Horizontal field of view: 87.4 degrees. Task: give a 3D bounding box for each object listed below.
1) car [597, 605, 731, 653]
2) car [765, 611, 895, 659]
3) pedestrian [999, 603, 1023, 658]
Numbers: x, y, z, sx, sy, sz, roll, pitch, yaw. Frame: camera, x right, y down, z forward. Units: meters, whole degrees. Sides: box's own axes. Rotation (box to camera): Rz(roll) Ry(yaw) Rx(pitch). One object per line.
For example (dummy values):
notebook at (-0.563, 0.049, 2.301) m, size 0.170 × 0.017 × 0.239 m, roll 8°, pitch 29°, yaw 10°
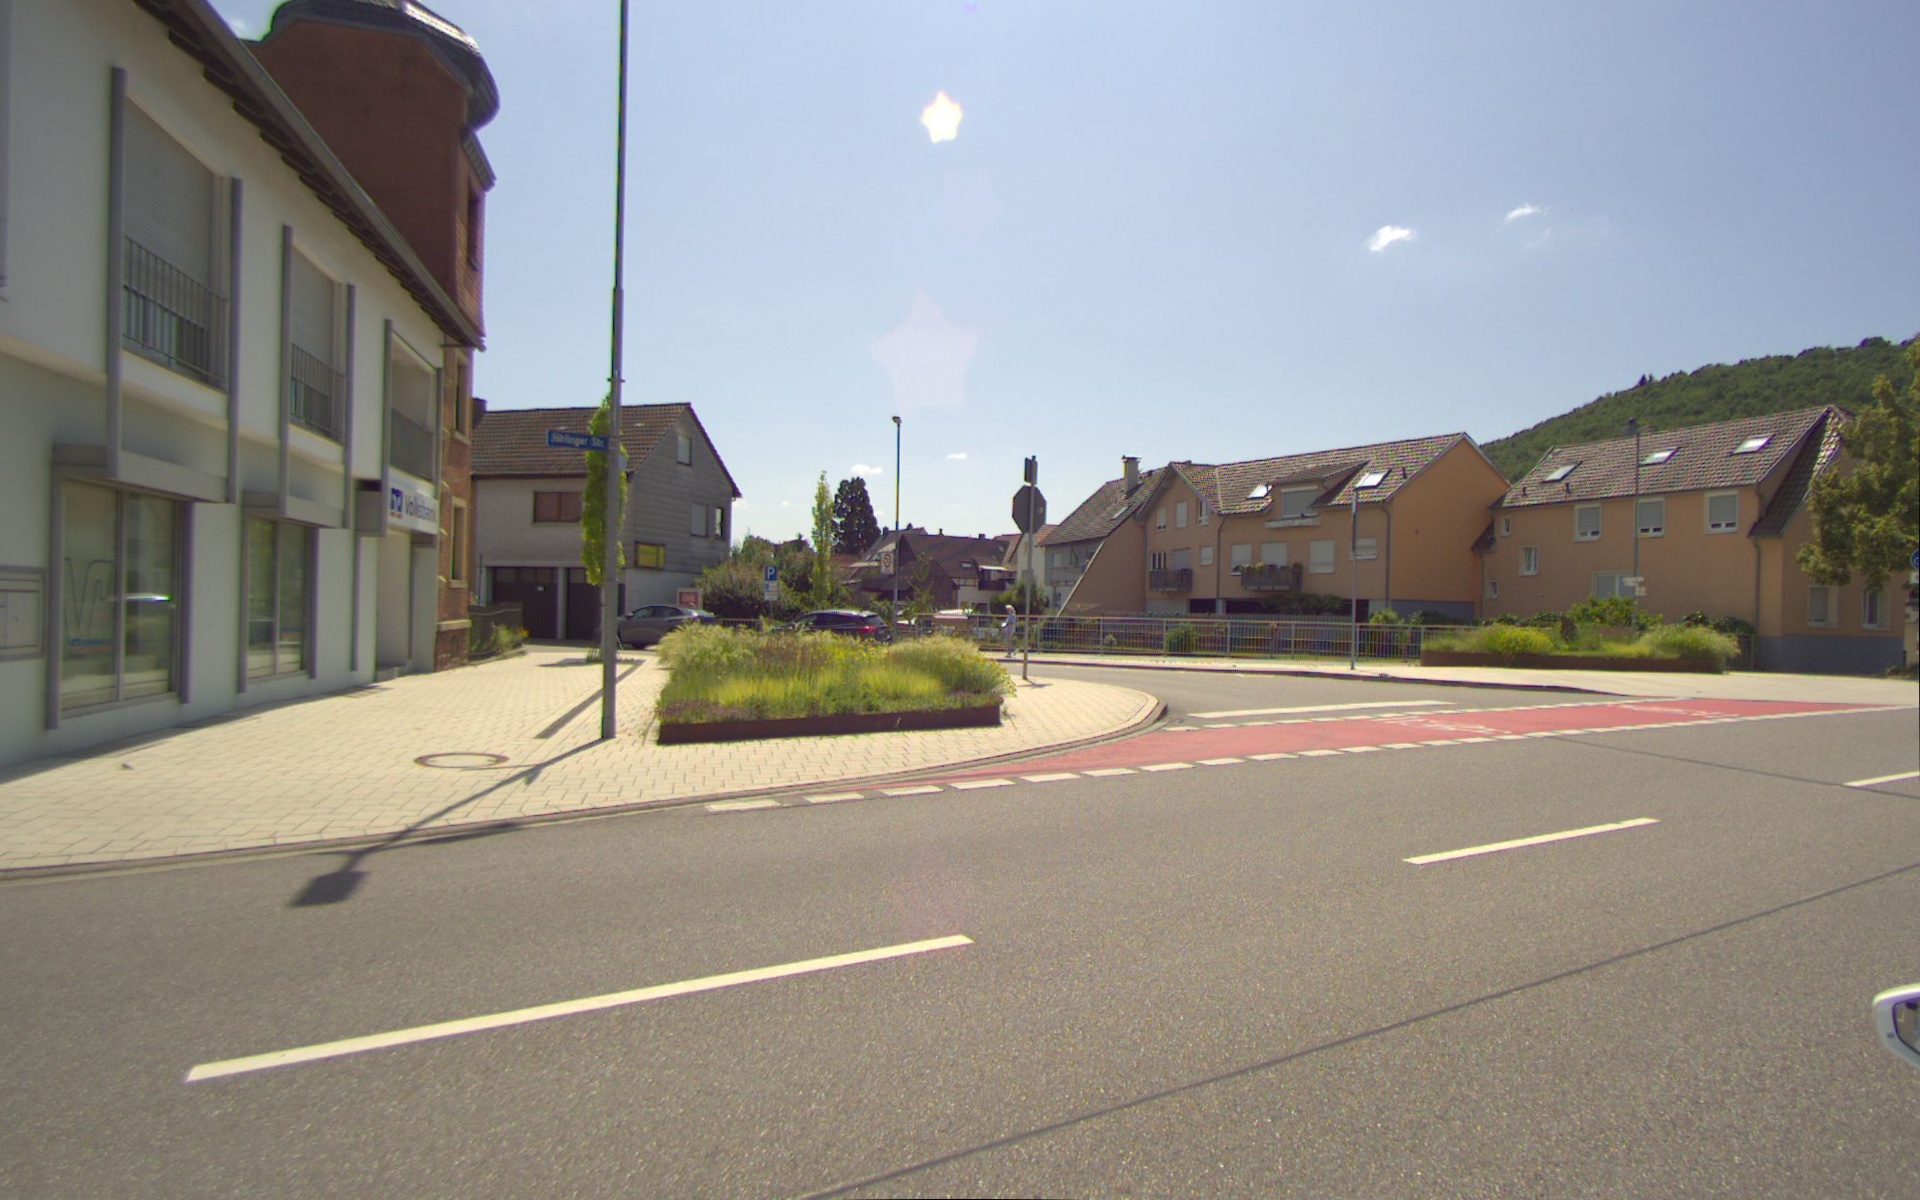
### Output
car at (-10.347, 1.009, 35.177) m, size 4.149 × 1.567 × 1.789 m, roll 1°, pitch -2°, yaw 17°
car at (-4.371, 1.142, 33.915) m, size 3.921 × 1.483 × 1.861 m, roll 1°, pitch -1°, yaw 20°
pedestrian at (1.666, 0.991, 32.879) m, size 0.603 × 1.772 × 0.506 m, roll 1°, pitch 0°, yaw 24°
